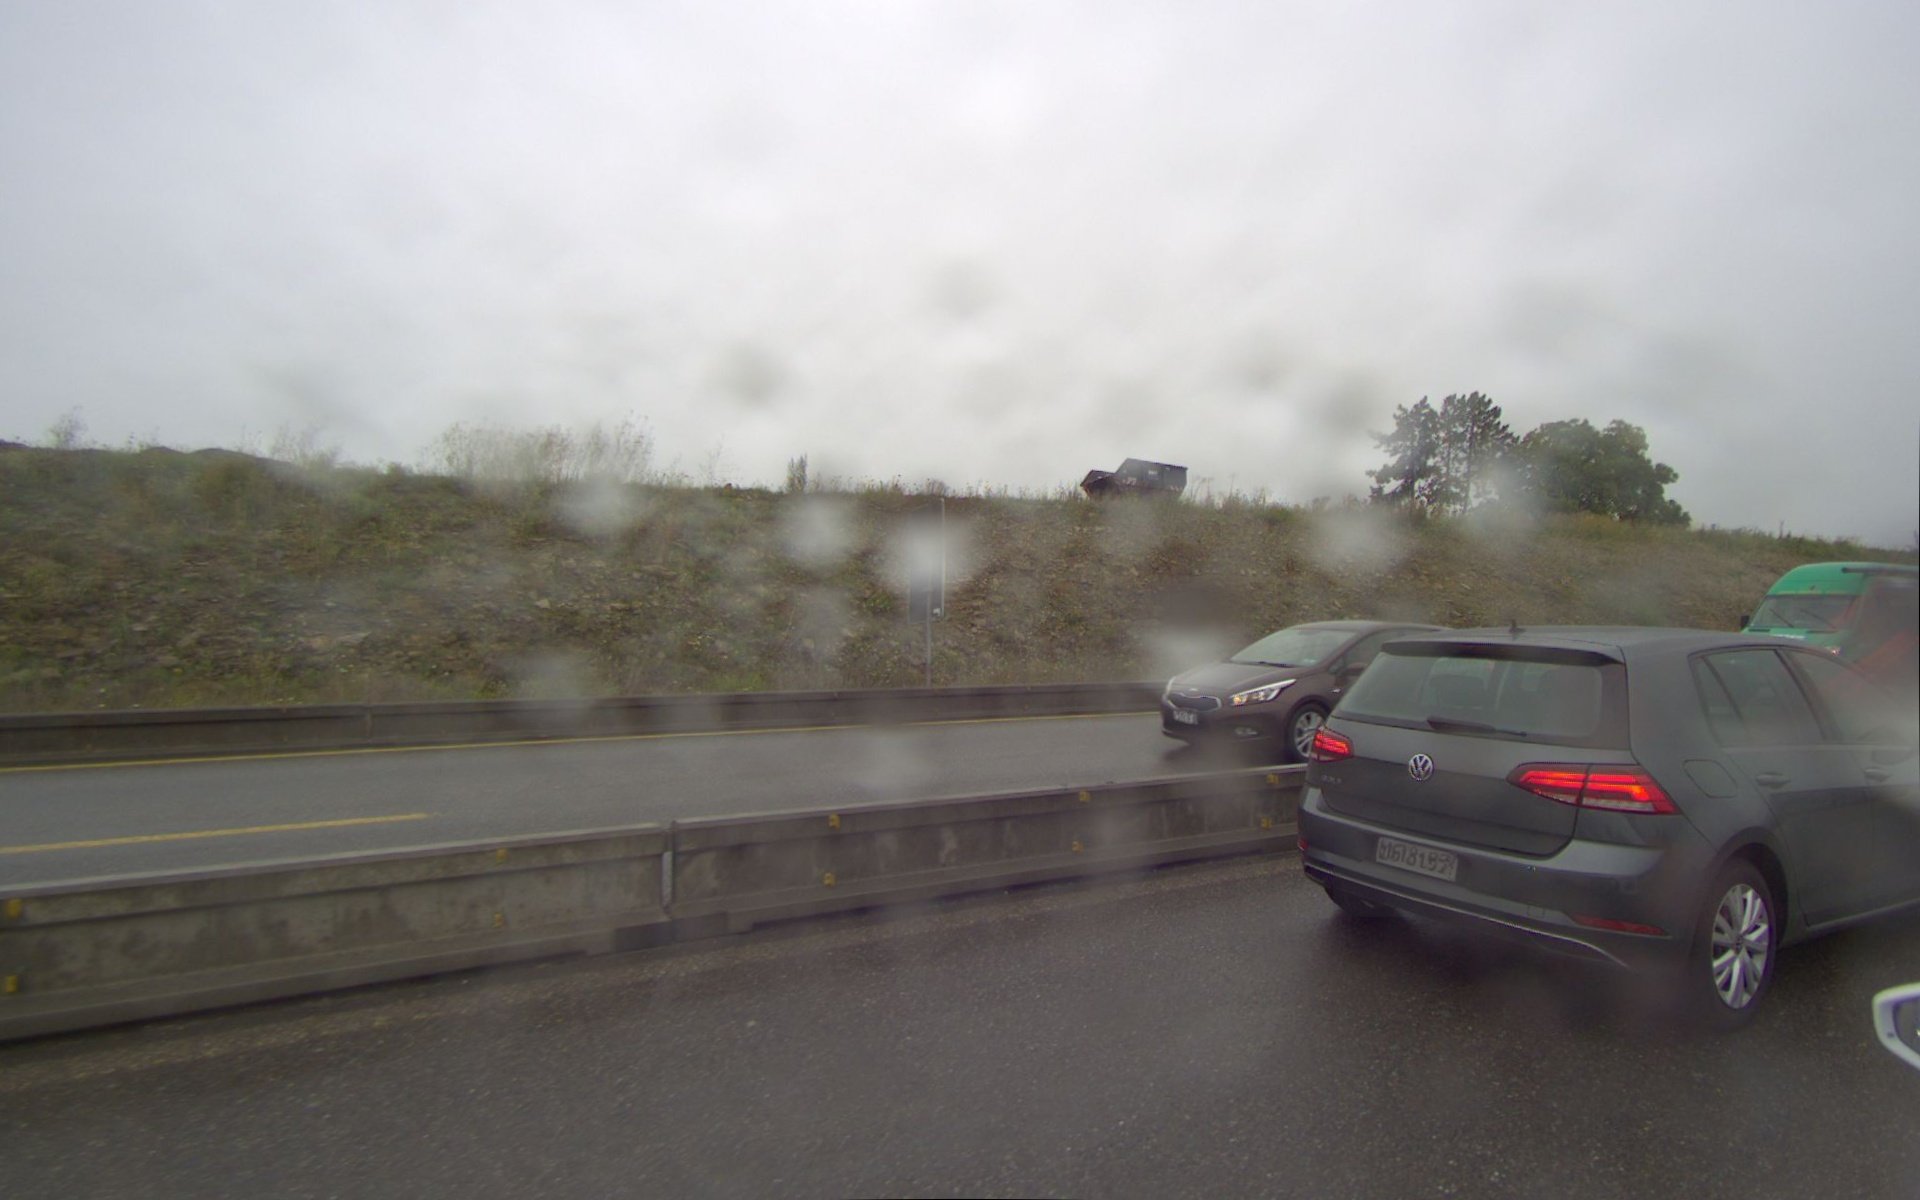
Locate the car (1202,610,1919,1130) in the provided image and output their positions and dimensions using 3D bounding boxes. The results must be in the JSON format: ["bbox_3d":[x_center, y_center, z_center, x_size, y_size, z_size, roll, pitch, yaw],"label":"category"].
[{"bbox_3d":[3.299,0.856,4.781,4.318,1.526,1.606,1,-2,-31],"label":"car"}]

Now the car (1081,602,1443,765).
[{"bbox_3d":[3.527,0.861,11.581,3.998,1.557,1.706,1,1,-30],"label":"car"}]

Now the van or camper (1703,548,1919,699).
[{"bbox_3d":[18.532,0.488,21.377,5.871,2.855,2.091,1,1,-29],"label":"van or camper"}]
